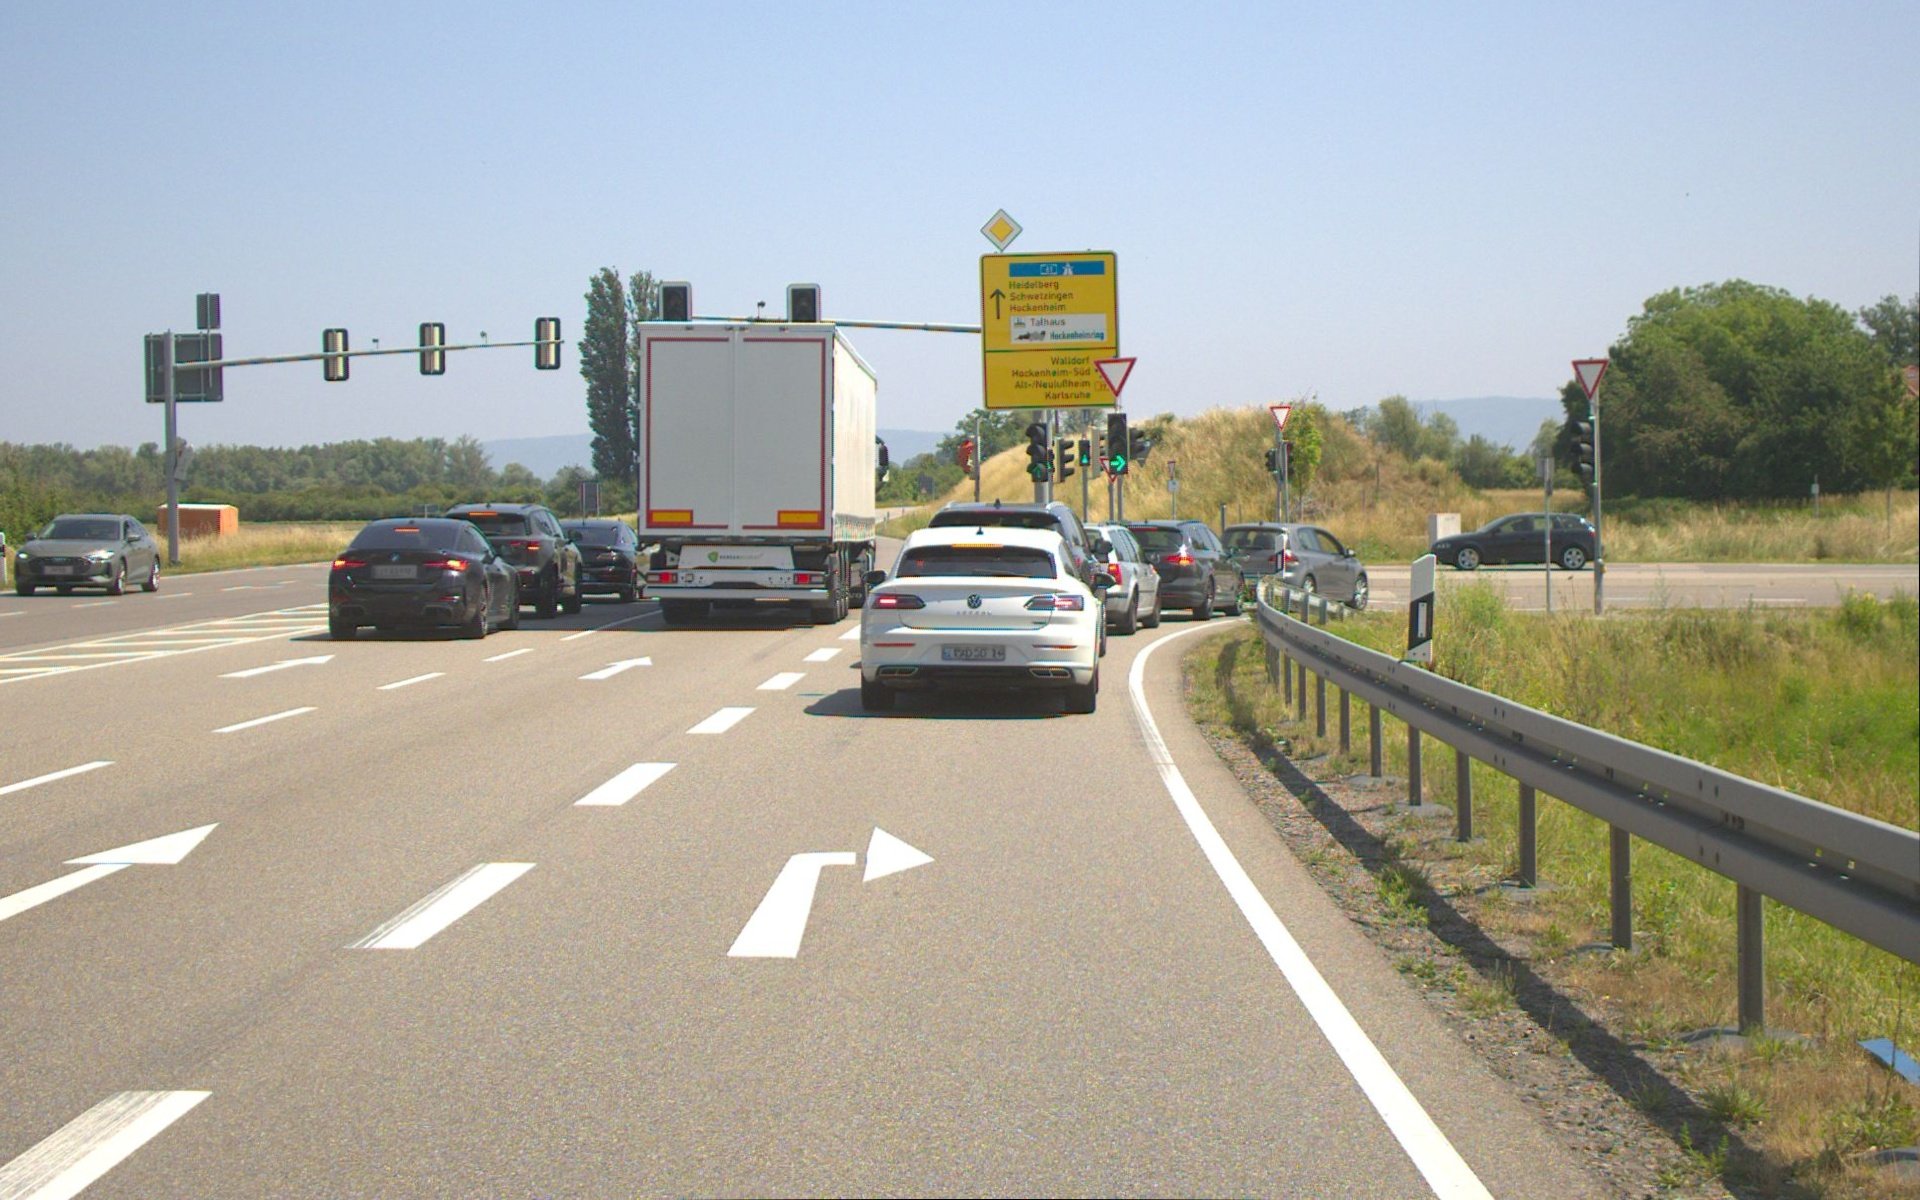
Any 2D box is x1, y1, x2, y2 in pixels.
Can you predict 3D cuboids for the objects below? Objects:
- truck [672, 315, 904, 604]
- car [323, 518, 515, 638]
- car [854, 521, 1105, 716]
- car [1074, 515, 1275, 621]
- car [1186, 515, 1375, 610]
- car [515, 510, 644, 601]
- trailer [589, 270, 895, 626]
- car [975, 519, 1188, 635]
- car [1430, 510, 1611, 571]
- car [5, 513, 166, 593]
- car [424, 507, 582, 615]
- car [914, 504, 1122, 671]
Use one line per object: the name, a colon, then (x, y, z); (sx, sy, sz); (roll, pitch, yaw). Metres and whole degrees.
truck: (-2.780, -2.298, 57.582); (3.381, 4.527, 6.372); (1, 1, 1)
car: (-6.673, -0.301, 42.764); (1.809, 1.393, 4.022); (1, 1, -1)
car: (0.183, 0.091, 27.764); (1.848, 1.428, 4.608); (0, 1, 1)
car: (3.196, -0.491, 50.499); (1.801, 1.471, 4.410); (1, 1, 19)
car: (5.373, -0.629, 57.296); (1.802, 1.516, 3.877); (1, 1, 27)
car: (-6.482, -0.775, 58.963); (1.809, 1.488, 4.022); (1, 1, -1)
trailer: (-2.932, -2.112, 50.683); (3.381, 4.527, 12.872); (1, 1, 1)
car: (1.630, -0.324, 44.671); (1.801, 1.424, 4.090); (1, 1, 16)
car: (13.887, -1.483, 85.352); (4.260, 1.364, 1.776); (-1, 3, 4)
car: (-15.871, -0.872, 62.599); (1.878, 1.393, 4.532); (0, 1, -1)
car: (-6.620, -0.591, 50.153); (1.809, 1.488, 4.022); (1, 1, -1)
car: (0.663, -0.163, 35.562); (1.935, 1.611, 4.378); (1, 1, 4)
